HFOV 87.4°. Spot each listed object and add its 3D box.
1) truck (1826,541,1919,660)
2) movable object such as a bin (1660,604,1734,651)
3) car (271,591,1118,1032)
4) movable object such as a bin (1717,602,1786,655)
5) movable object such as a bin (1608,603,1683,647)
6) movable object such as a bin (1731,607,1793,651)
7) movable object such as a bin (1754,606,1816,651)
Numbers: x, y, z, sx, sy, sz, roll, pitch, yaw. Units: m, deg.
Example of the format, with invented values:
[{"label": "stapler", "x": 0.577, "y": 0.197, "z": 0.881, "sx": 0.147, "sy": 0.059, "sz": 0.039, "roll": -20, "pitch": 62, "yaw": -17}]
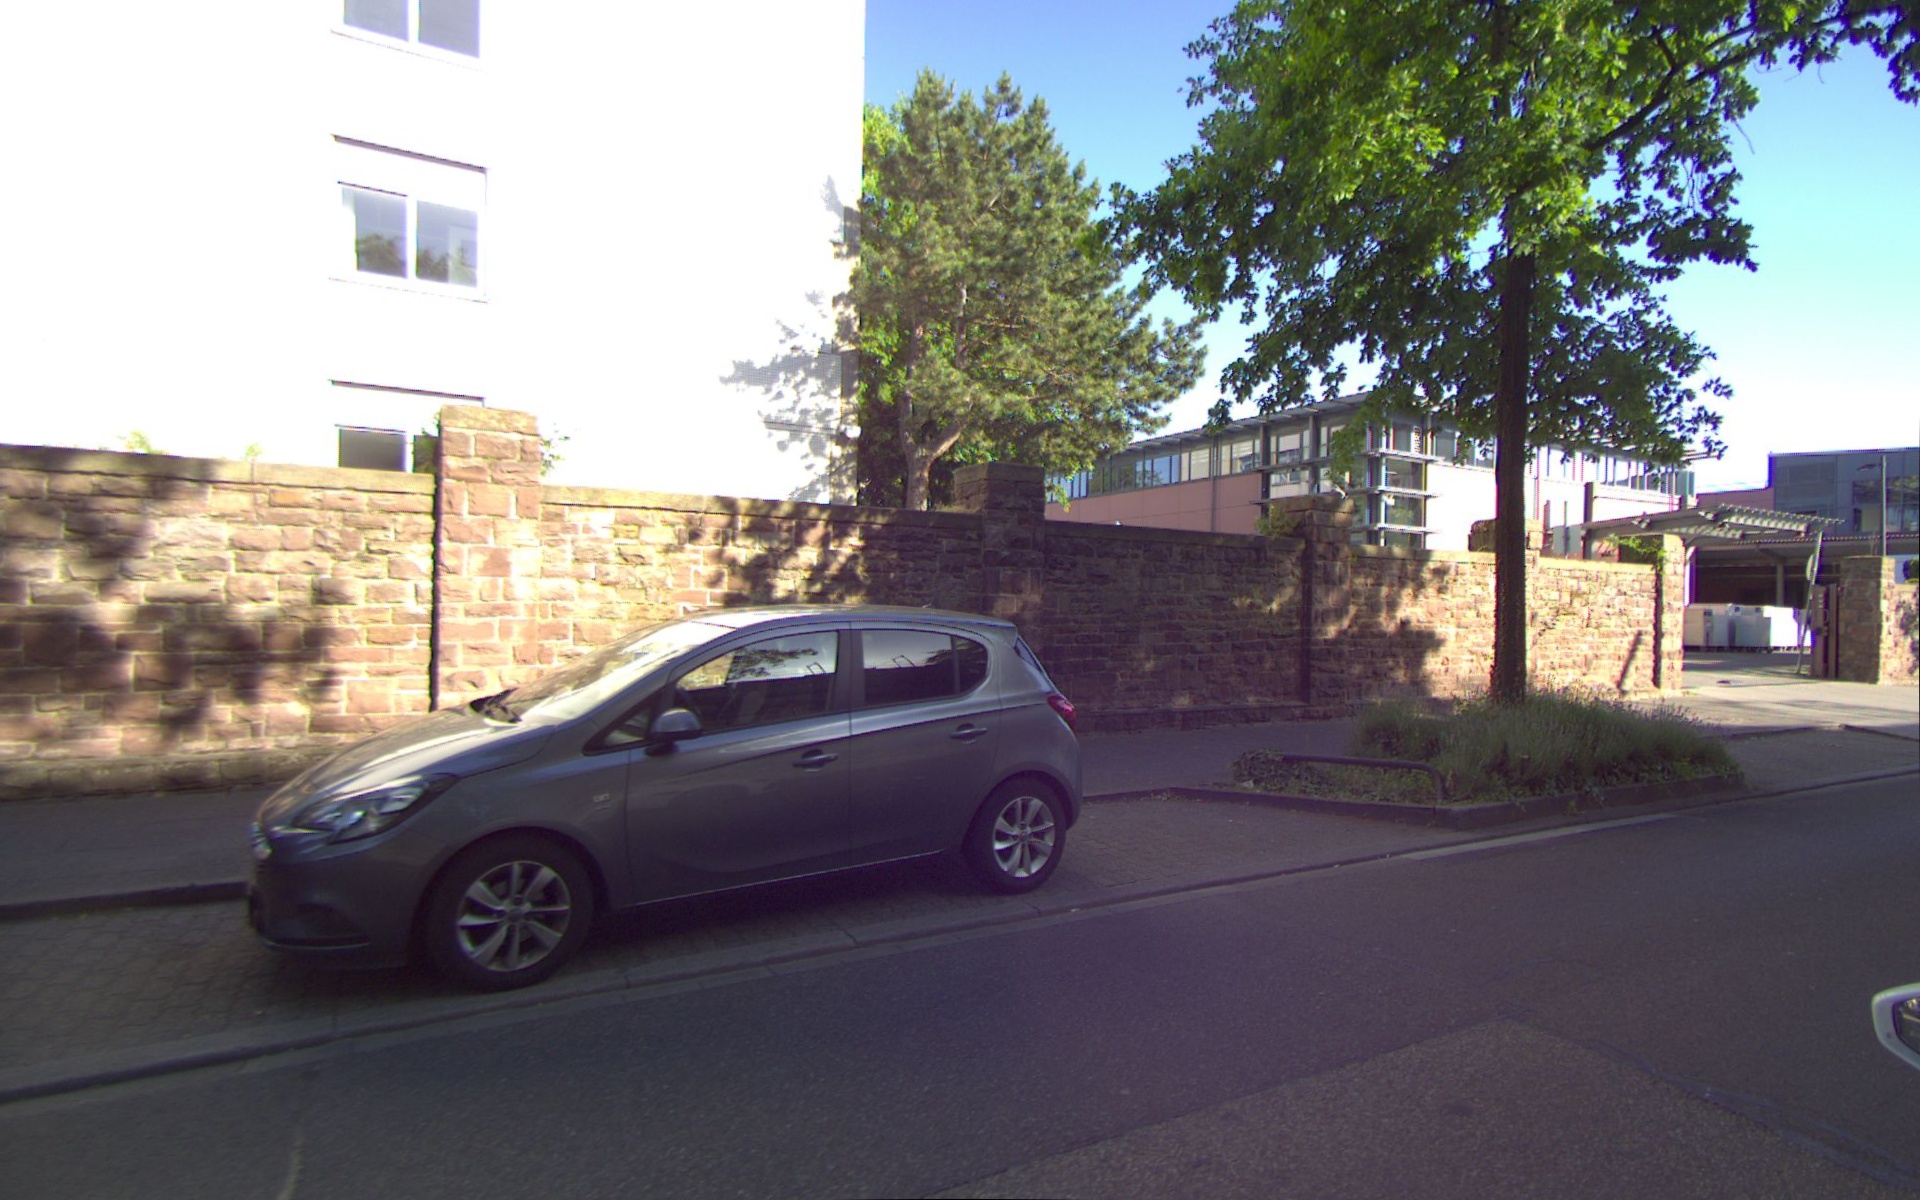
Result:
[{"label": "truck", "x": 32.950, "y": 0.059, "z": 34.346, "sx": 7.341, "sy": 3.761, "sz": 2.719, "roll": 1, "pitch": 1, "yaw": -31}, {"label": "movable object such as a bin", "x": 27.030, "y": 0.996, "z": 36.825, "sx": 2.527, "sy": 1.619, "sz": 1.318, "roll": 1, "pitch": 1, "yaw": -33}, {"label": "car", "x": -1.184, "y": 0.735, "z": 5.129, "sx": 3.799, "sy": 1.441, "sz": 1.676, "roll": 1, "pitch": 1, "yaw": -34}, {"label": "movable object such as a bin", "x": 29.531, "y": 1.058, "z": 37.487, "sx": 2.410, "sy": 1.889, "sz": 1.185, "roll": 1, "pitch": 1, "yaw": -31}, {"label": "movable object such as a bin", "x": 25.756, "y": 0.938, "z": 37.731, "sx": 2.527, "sy": 1.559, "sz": 1.400, "roll": 1, "pitch": 1, "yaw": -32}, {"label": "movable object such as a bin", "x": 32.663, "y": 1.175, "z": 40.912, "sx": 2.412, "sy": 1.709, "sz": 1.198, "roll": 1, "pitch": 1, "yaw": -33}, {"label": "movable object such as a bin", "x": 34.684, "y": 1.200, "z": 42.202, "sx": 2.644, "sy": 1.805, "sz": 1.198, "roll": 1, "pitch": 1, "yaw": -33}]
